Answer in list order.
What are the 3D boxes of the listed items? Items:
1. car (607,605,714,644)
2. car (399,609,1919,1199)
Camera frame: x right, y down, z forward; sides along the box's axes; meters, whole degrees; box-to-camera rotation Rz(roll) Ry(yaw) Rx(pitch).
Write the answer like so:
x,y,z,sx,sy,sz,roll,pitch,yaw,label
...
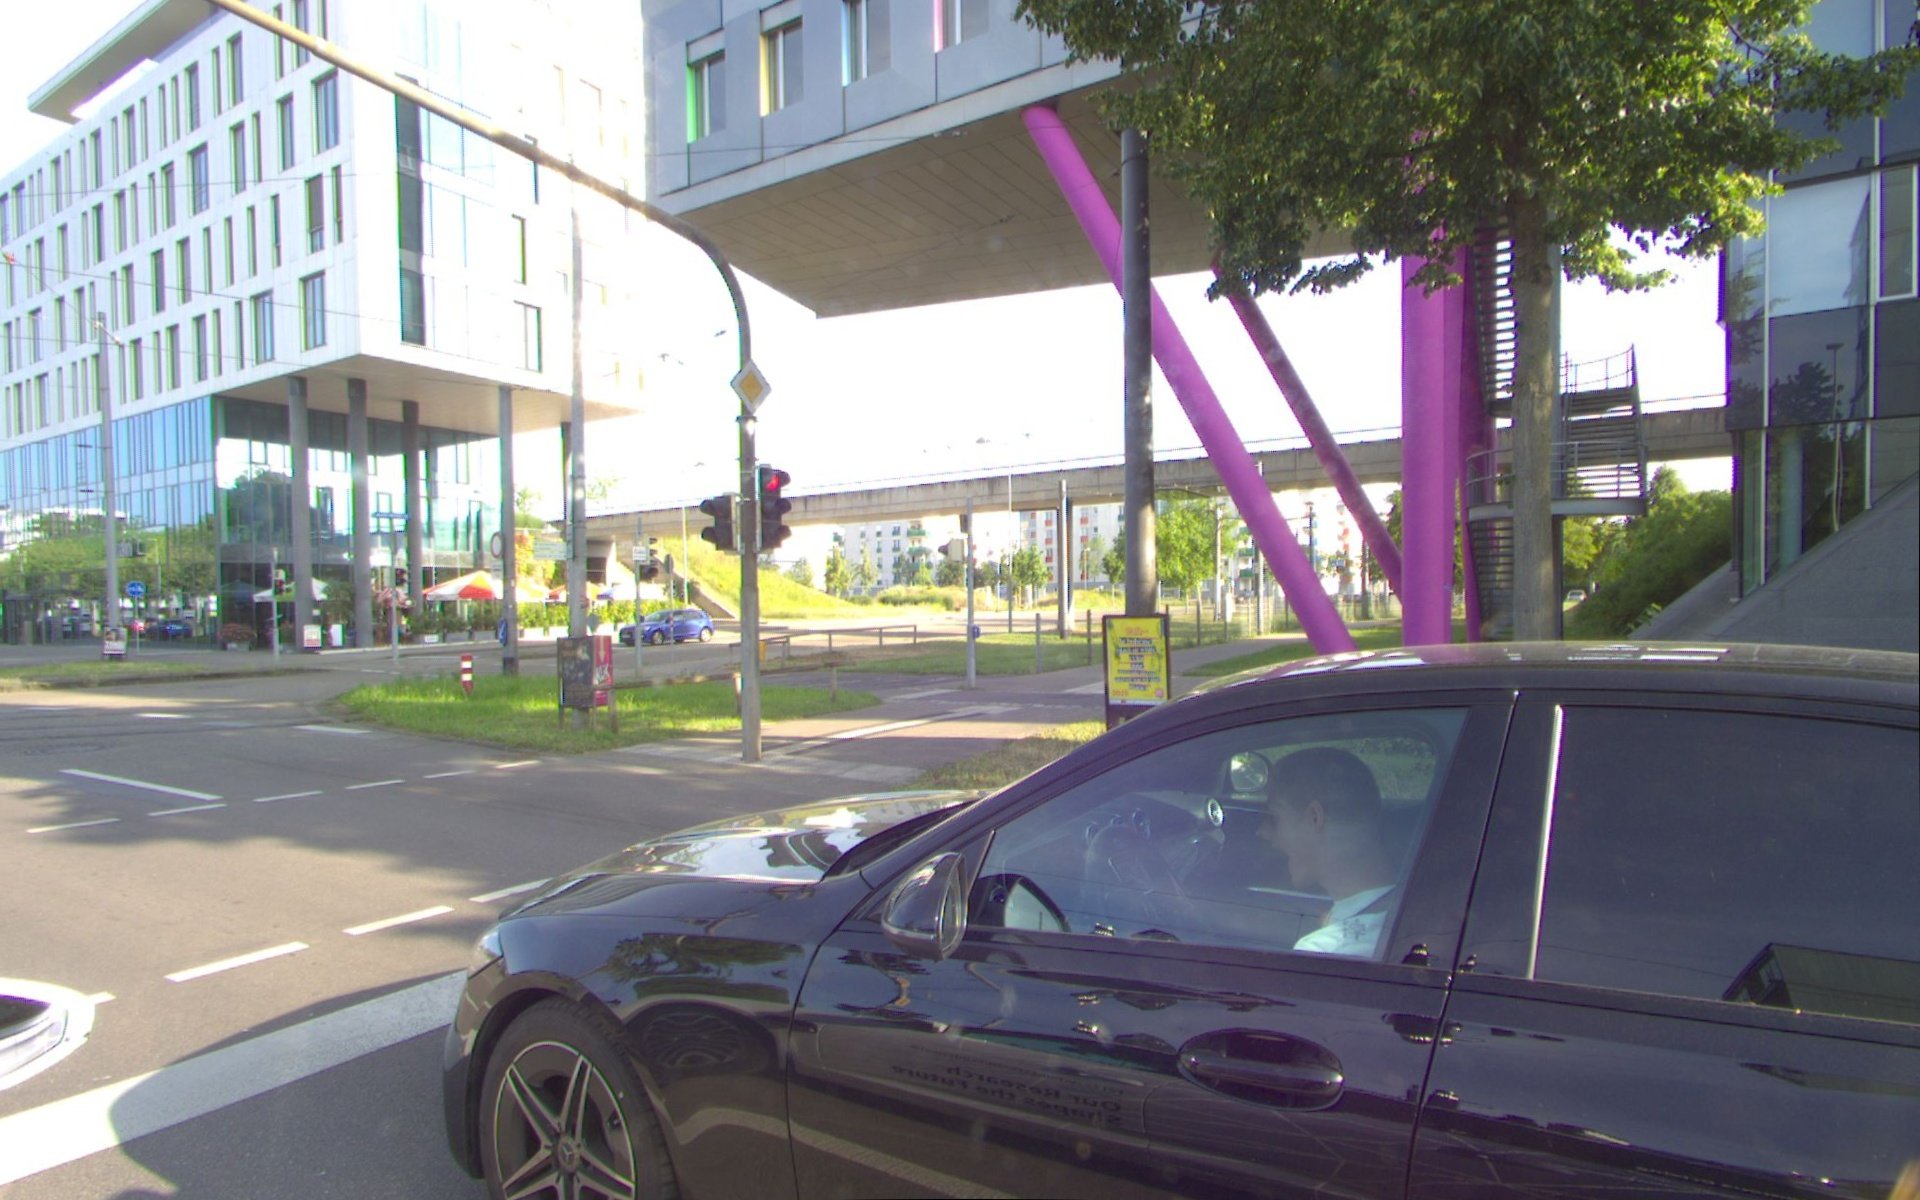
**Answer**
x,y,z,sx,sy,sz,roll,pitch,yaw,label
-12.471,0.988,41.952,1.832,1.443,4.176,0,1,31,car
0.886,0.771,2.109,4.493,1.469,1.834,0,-1,35,car
